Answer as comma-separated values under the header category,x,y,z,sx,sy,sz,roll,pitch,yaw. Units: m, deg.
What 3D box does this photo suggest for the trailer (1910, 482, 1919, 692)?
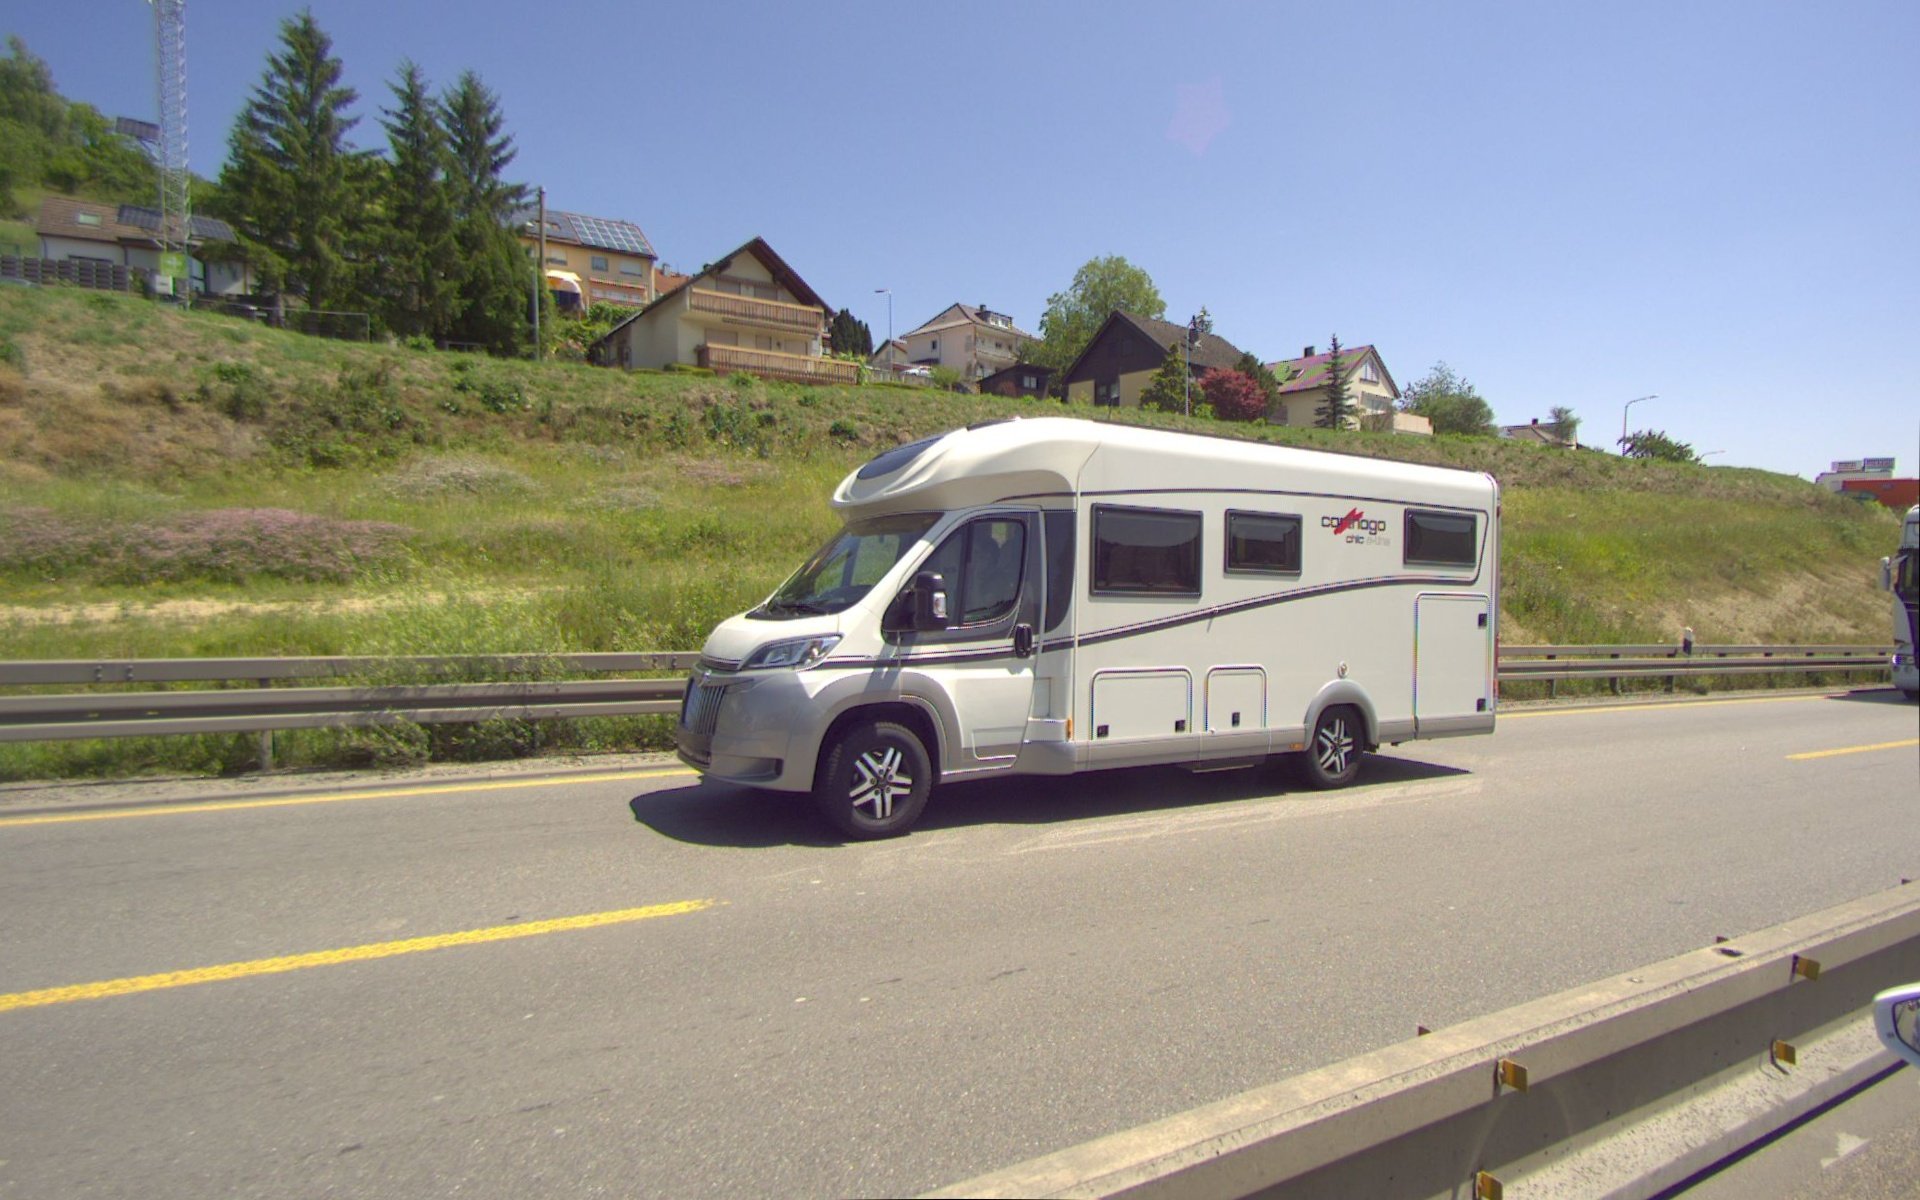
category,x,y,z,sx,sy,sz,roll,pitch,yaw
trailer,26.406,-0.124,23.171,13.872,4.344,2.796,1,0,-31

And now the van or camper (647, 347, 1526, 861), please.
category,x,y,z,sx,sy,sz,roll,pitch,yaw
van or camper,1.447,0.076,8.408,7.429,2.814,2.323,1,0,-31

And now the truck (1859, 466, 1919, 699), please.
category,x,y,z,sx,sy,sz,roll,pitch,yaw
truck,20.094,-0.279,19.377,4.622,4.344,2.760,1,0,-31
